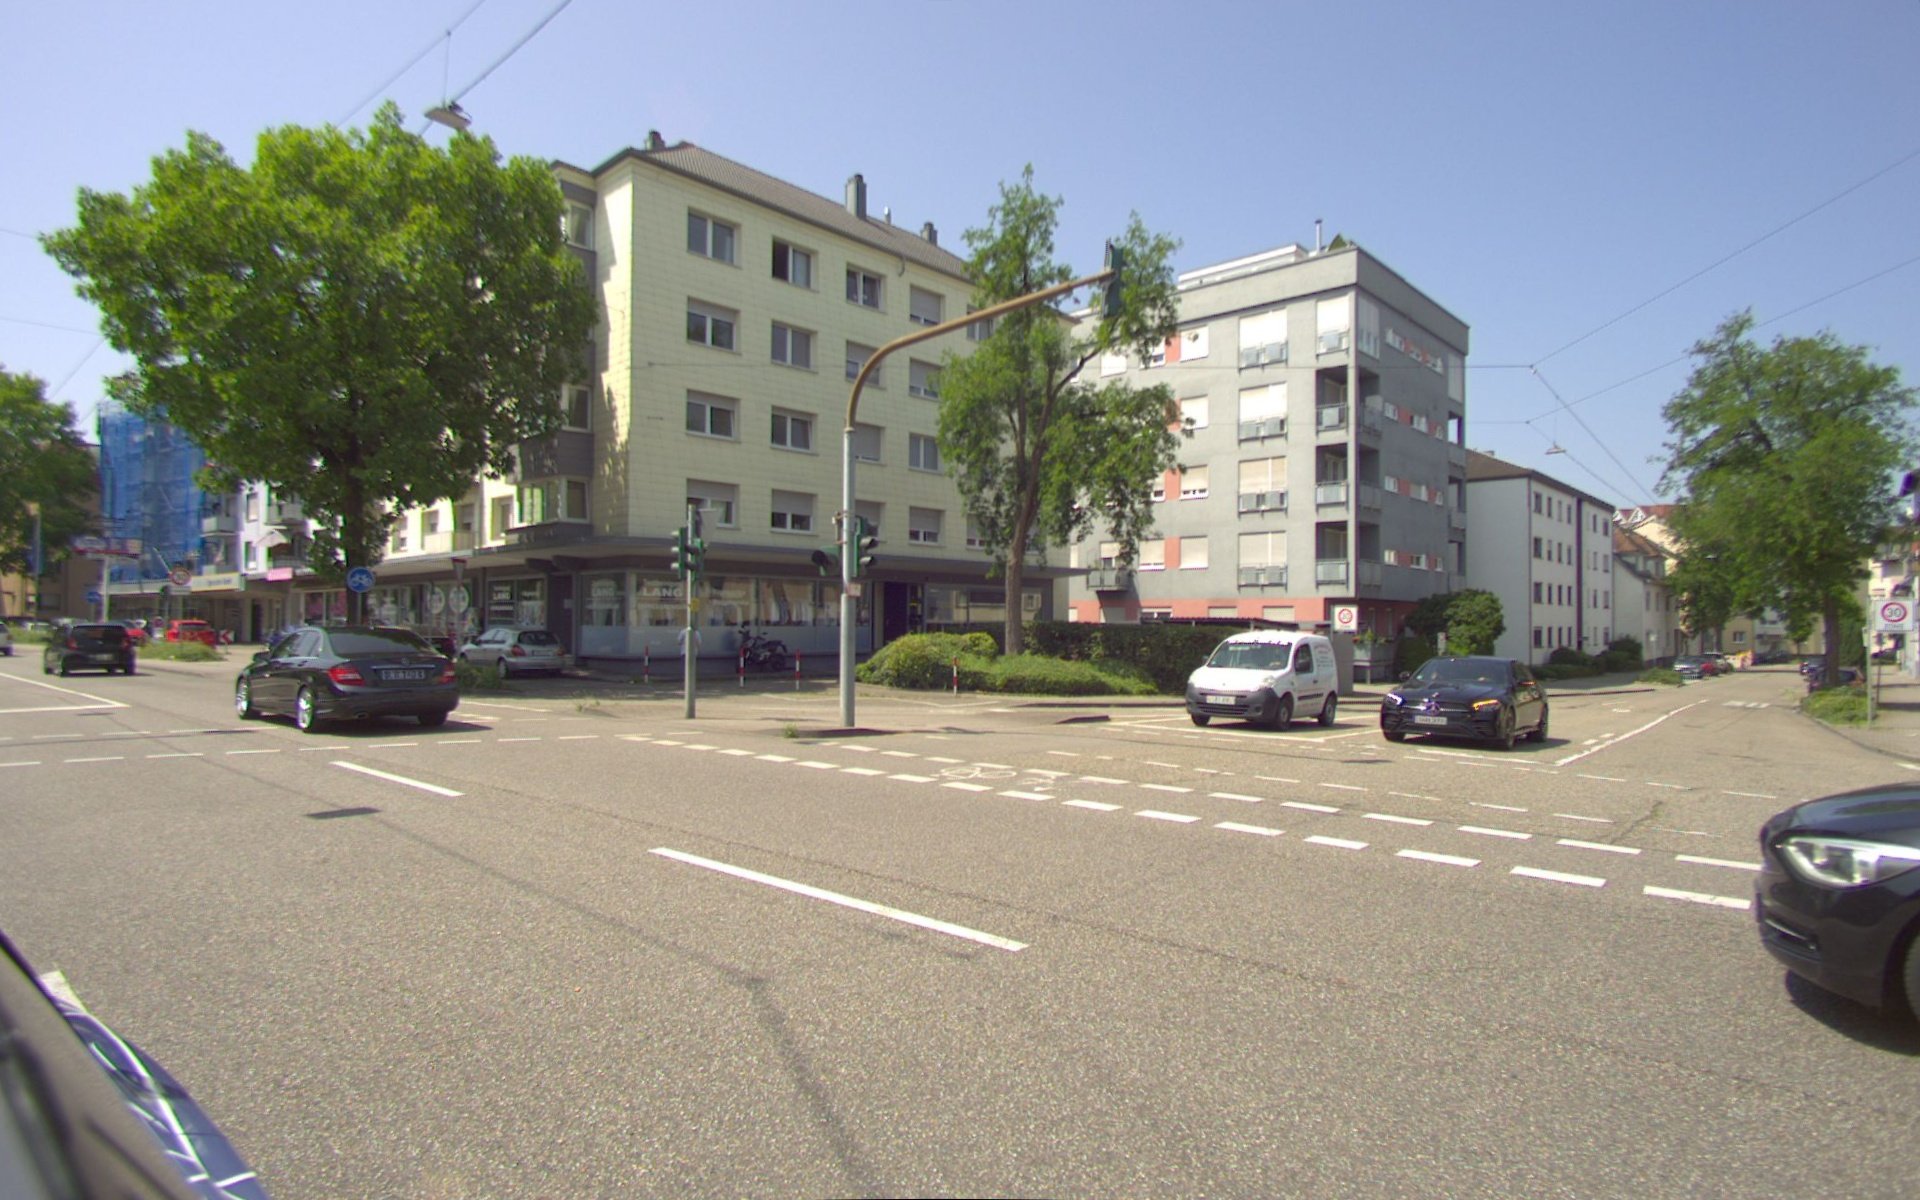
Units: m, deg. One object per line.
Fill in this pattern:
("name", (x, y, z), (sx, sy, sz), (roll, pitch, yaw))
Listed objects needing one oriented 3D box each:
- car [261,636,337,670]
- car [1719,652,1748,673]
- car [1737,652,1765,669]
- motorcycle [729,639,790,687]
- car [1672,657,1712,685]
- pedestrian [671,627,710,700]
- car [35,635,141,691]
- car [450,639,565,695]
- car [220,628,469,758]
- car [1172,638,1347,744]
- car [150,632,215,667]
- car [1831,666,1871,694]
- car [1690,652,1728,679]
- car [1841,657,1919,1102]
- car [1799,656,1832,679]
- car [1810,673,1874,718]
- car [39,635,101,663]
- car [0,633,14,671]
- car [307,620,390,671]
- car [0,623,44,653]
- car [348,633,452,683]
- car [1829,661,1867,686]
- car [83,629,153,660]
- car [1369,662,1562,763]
("car", (-27.691, 2.184, 42.364), (3.859, 1.296, 1.682), (-1, -1, 41))
("car", (69.738, 5.593, 91.204), (3.203, 1.684, 1.550), (0, -1, -42))
("car", (76.817, 5.859, 98.279), (3.203, 1.392, 1.550), (0, -1, -42))
("motorcycle", (-6.446, 2.011, 32.641), (0.714, 1.431, 1.894), (0, 0, 42))
("car", (49.418, 4.747, 68.348), (3.203, 1.684, 1.550), (0, -1, -42))
("pedestrian", (-6.800, 1.577, 25.535), (0.742, 1.773, 0.620), (1, 0, 41))
("car", (-24.283, 1.739, 28.150), (3.706, 1.467, 1.599), (-3, -4, 40))
("car", (-13.237, 1.898, 29.512), (3.938, 1.470, 1.566), (-1, -2, 41))
("car", (-8.828, 1.205, 14.379), (4.314, 1.572, 1.737), (-2, -3, 40))
("car", (5.698, 1.659, 18.990), (1.892, 1.748, 3.648), (-1, -4, 39))
("car", (-34.450, 2.149, 44.805), (3.633, 1.479, 1.617), (-1, -3, 42))
("car", (55.740, 4.944, 63.301), (1.836, 1.417, 4.269), (-1, -1, 42))
("car", (54.228, 4.718, 73.259), (3.203, 1.684, 1.550), (0, -1, -42))
("car", (5.066, 0.893, 2.695), (4.048, 1.410, 1.817), (-2, -4, 41))
("car", (62.447, 4.939, 73.882), (1.713, 1.417, 4.025), (-1, -1, 42))
("car", (34.818, 3.729, 39.938), (1.809, 1.417, 3.944), (-1, -1, 42))
("car", (-50.812, 2.782, 57.774), (4.328, 1.531, 1.889), (-2, -3, 38))
("car", (-41.245, 2.145, 42.440), (4.628, 1.530, 1.796), (-1, -3, 41))
("car", (-23.491, 1.707, 38.818), (3.857, 1.853, 1.622), (-2, -2, 41))
("car", (-58.747, 2.372, 62.736), (4.321, 1.819, 1.892), (-1, -2, 33))
("car", (-19.257, 1.923, 34.709), (4.837, 1.581, 1.605), (-1, -2, 41))
("car", (59.893, 4.926, 68.232), (1.836, 1.417, 4.269), (-1, -1, 42))
("car", (-42.865, 2.245, 51.479), (4.328, 1.531, 1.889), (-2, -3, 38))
("car", (8.665, 1.821, 17.149), (2.113, 1.412, 4.561), (-1, -5, 37))
